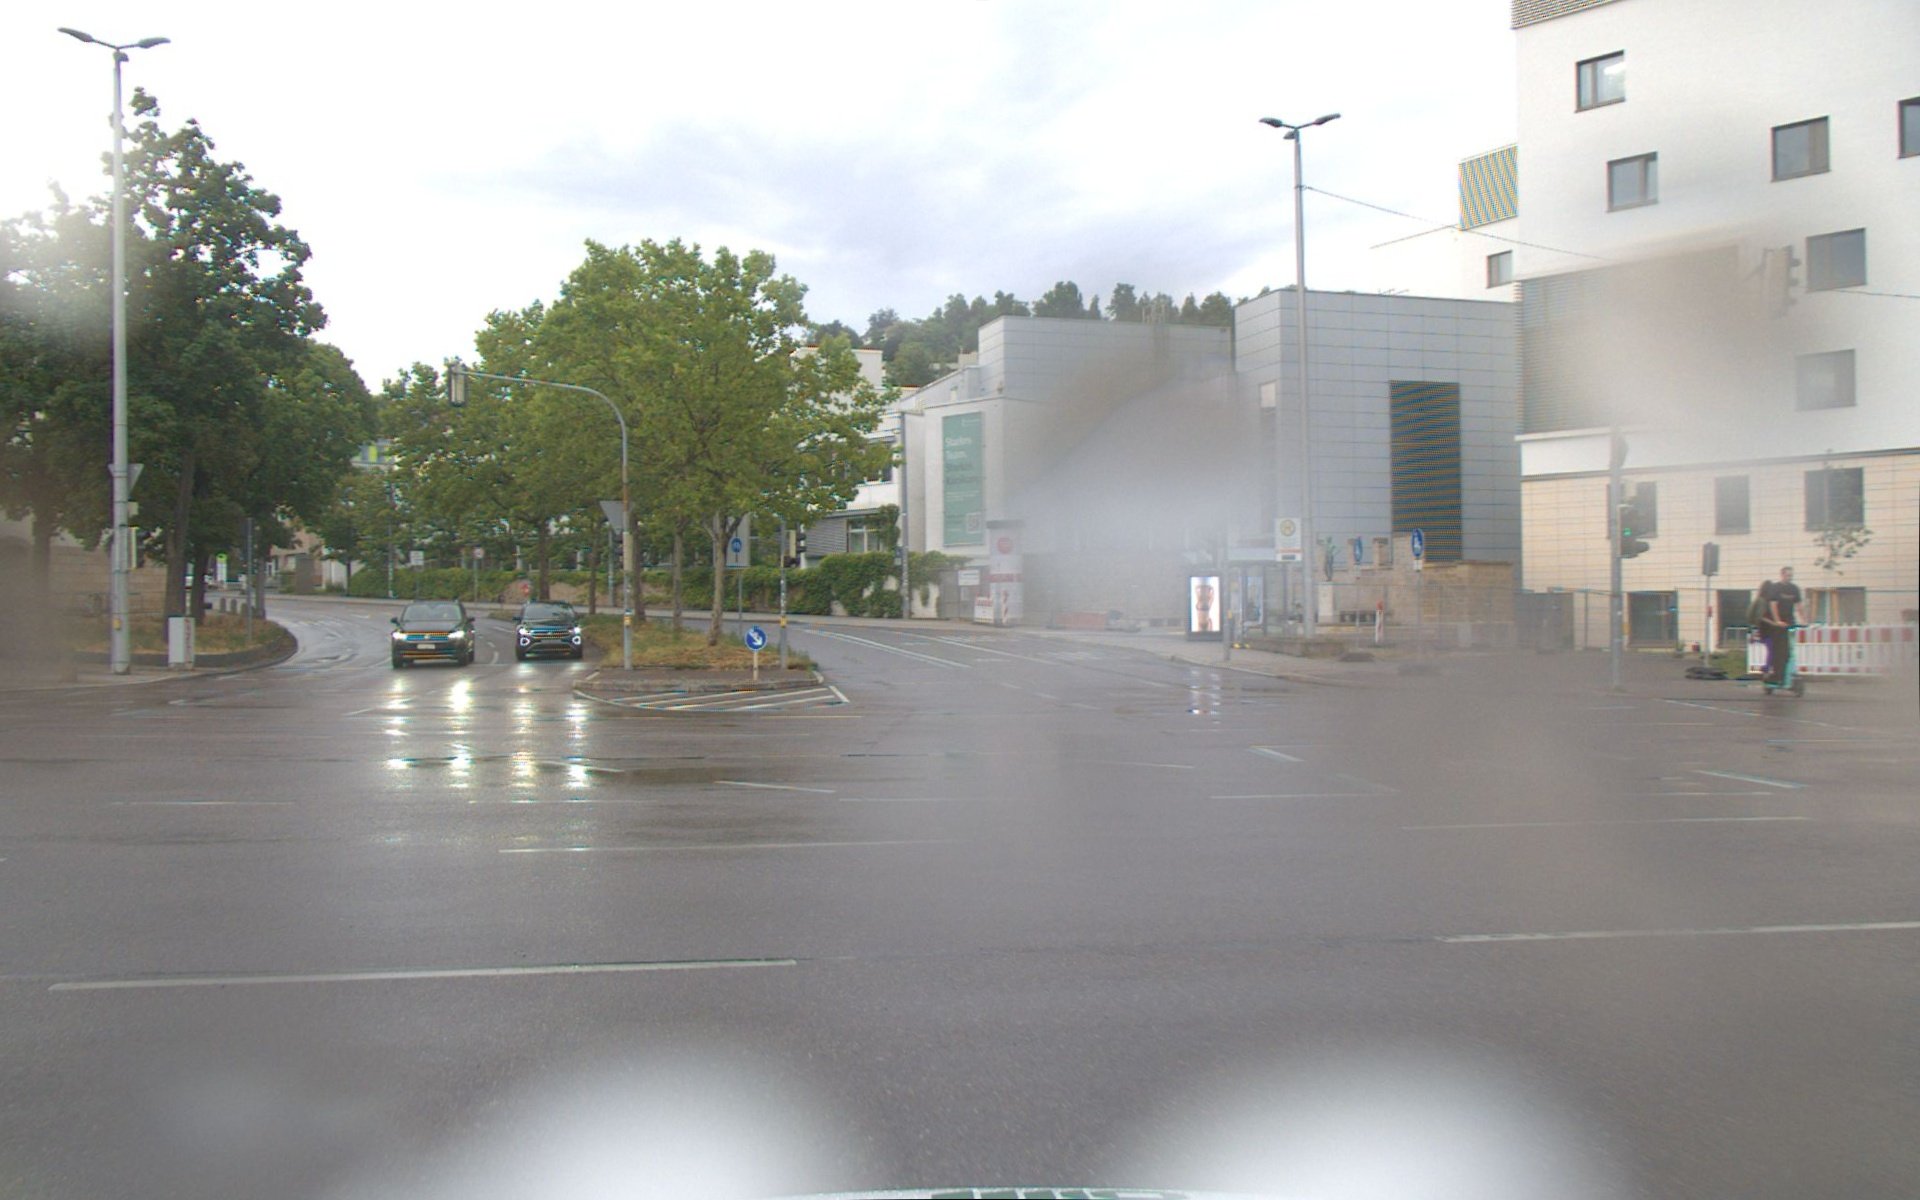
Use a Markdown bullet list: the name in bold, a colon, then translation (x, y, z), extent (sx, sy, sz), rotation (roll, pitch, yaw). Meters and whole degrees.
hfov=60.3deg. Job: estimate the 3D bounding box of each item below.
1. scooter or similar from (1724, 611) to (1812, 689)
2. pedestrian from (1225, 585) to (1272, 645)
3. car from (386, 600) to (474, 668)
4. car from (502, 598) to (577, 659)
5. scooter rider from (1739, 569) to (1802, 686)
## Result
- **scooter or similar**: translation (13.456, 0.833, 27.563), extent (0.582, 1.260, 1.307), rotation (2, -2, -18)
- **pedestrian**: translation (8.585, 0.457, 49.208), extent (1.231, 1.749, 1.016), rotation (1, -2, 1)
- **car**: translation (-13.560, 0.827, 42.488), extent (1.836, 1.592, 4.261), rotation (-1, 1, -14)
- **car**: translation (-11.832, 0.764, 46.355), extent (1.761, 1.612, 3.979), rotation (0, 0, -18)
- **scooter rider**: translation (13.487, 0.456, 27.529), extent (0.712, 1.916, 0.629), rotation (2, -2, -17)
